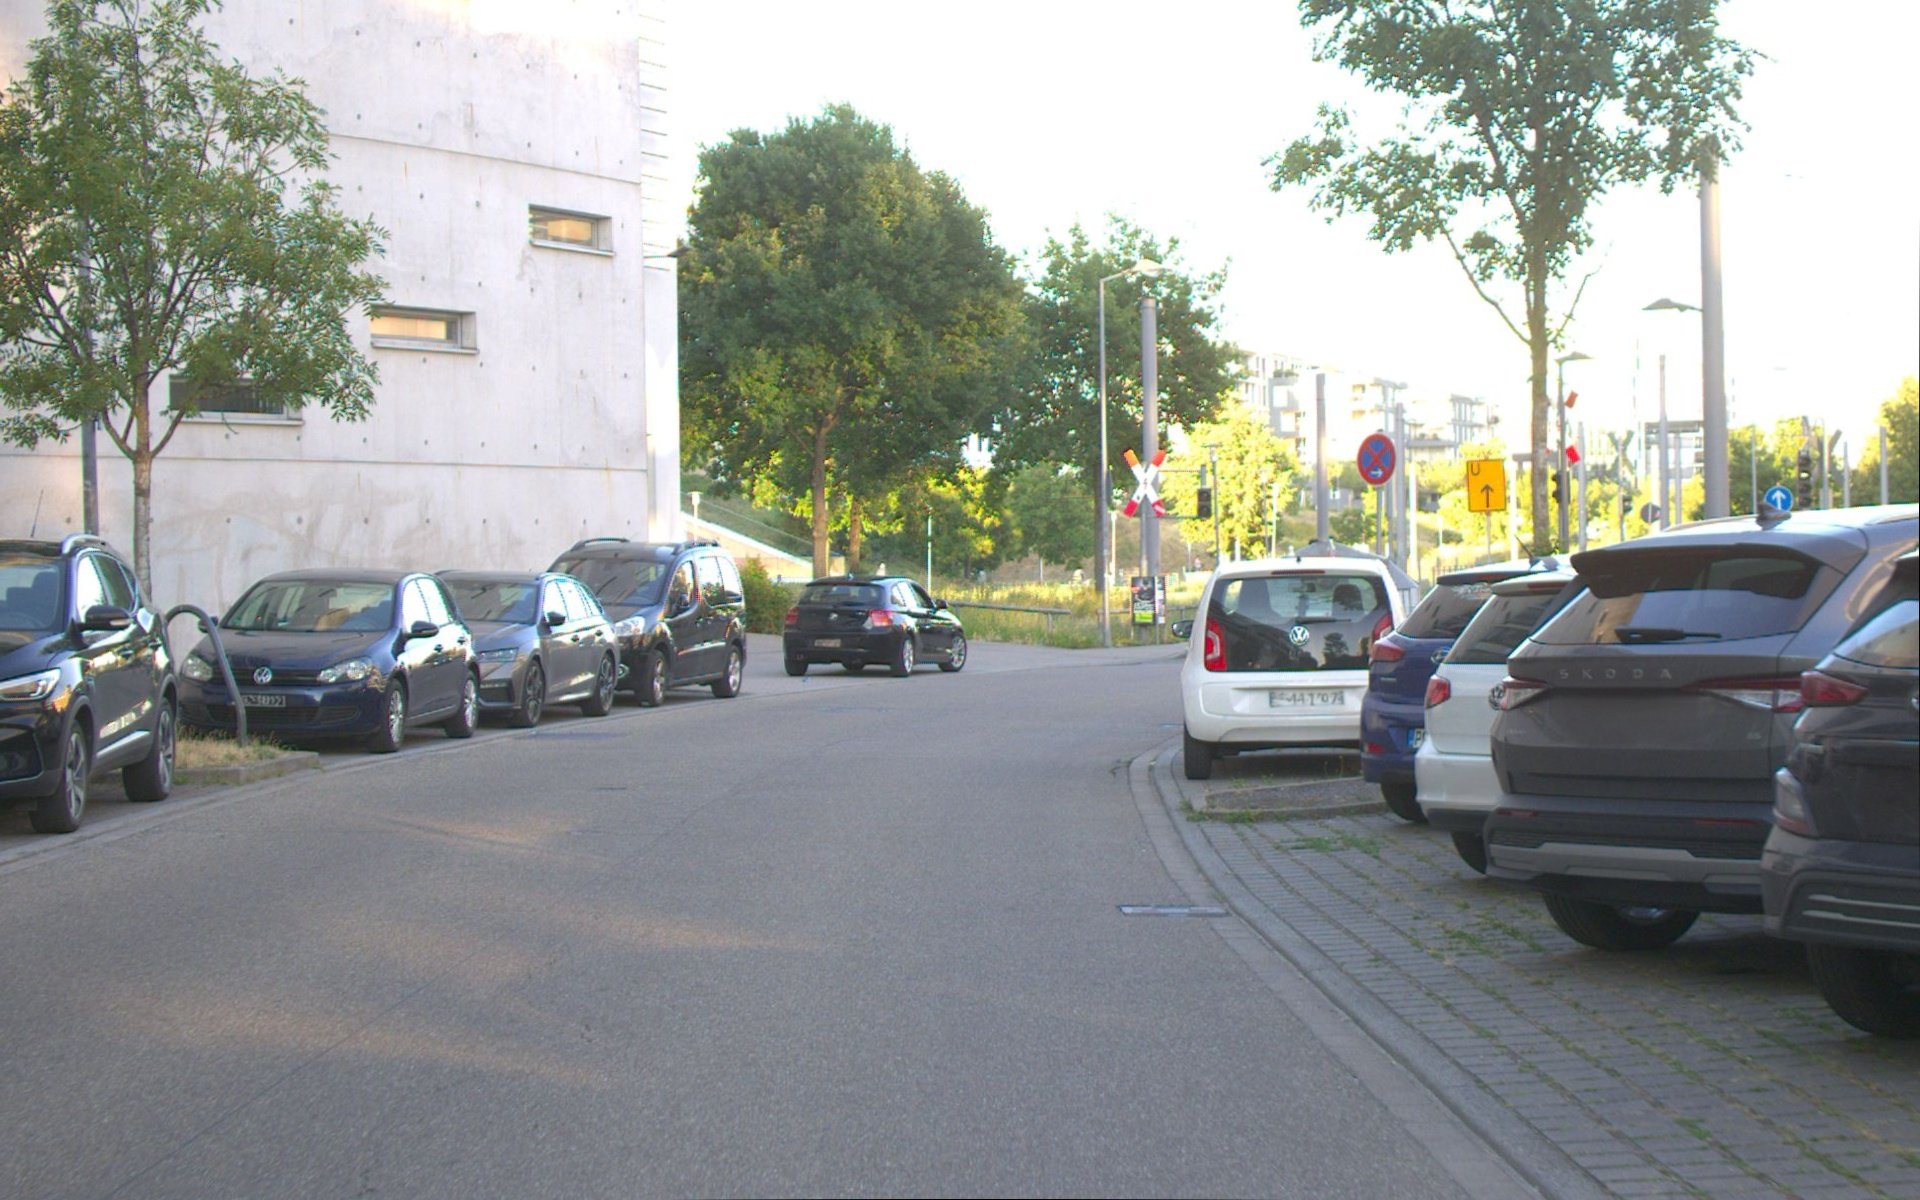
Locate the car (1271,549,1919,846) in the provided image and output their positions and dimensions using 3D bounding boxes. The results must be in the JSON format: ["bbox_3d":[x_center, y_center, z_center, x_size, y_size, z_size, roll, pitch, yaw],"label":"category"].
[{"bbox_3d":[3.758,0.491,19.428,3.742,1.504,1.688,0,1,-34],"label":"car"}]

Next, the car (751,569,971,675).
[{"bbox_3d":[-1.356,0.276,49.226,1.945,1.378,4.396,1,1,15],"label":"car"}]

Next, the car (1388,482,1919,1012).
[{"bbox_3d":[3.637,0.453,12.917,3.767,1.720,1.763,0,1,-34],"label":"car"}]

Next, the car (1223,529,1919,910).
[{"bbox_3d":[3.459,0.475,16.462,3.920,1.504,1.957,-3,1,-31],"label":"car"}]

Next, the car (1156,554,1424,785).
[{"bbox_3d":[2.372,0.437,24.391,1.723,1.462,3.552,-1,1,7],"label":"car"}]

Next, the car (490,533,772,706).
[{"bbox_3d":[-3.643,0.168,38.888,1.758,1.792,4.460,1,1,14],"label":"car"}]

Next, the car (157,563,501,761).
[{"bbox_3d":[-5.155,0.454,28.652,1.723,1.452,4.271,1,1,5],"label":"car"}]

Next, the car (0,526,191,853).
[{"bbox_3d":[-5.645,0.412,19.558,1.756,1.648,3.949,1,1,-2],"label":"car"}]

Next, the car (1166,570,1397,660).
[{"bbox_3d":[5.457,0.229,57.921,1.782,1.417,4.506,0,1,37],"label":"car"}]

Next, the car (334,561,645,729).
[{"bbox_3d":[-4.521,0.383,33.765,1.723,1.452,4.692,1,1,9],"label":"car"}]

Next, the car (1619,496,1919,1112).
[{"bbox_3d":[4.186,0.456,10.201,3.973,1.634,1.973,-3,1,-29],"label":"car"}]
